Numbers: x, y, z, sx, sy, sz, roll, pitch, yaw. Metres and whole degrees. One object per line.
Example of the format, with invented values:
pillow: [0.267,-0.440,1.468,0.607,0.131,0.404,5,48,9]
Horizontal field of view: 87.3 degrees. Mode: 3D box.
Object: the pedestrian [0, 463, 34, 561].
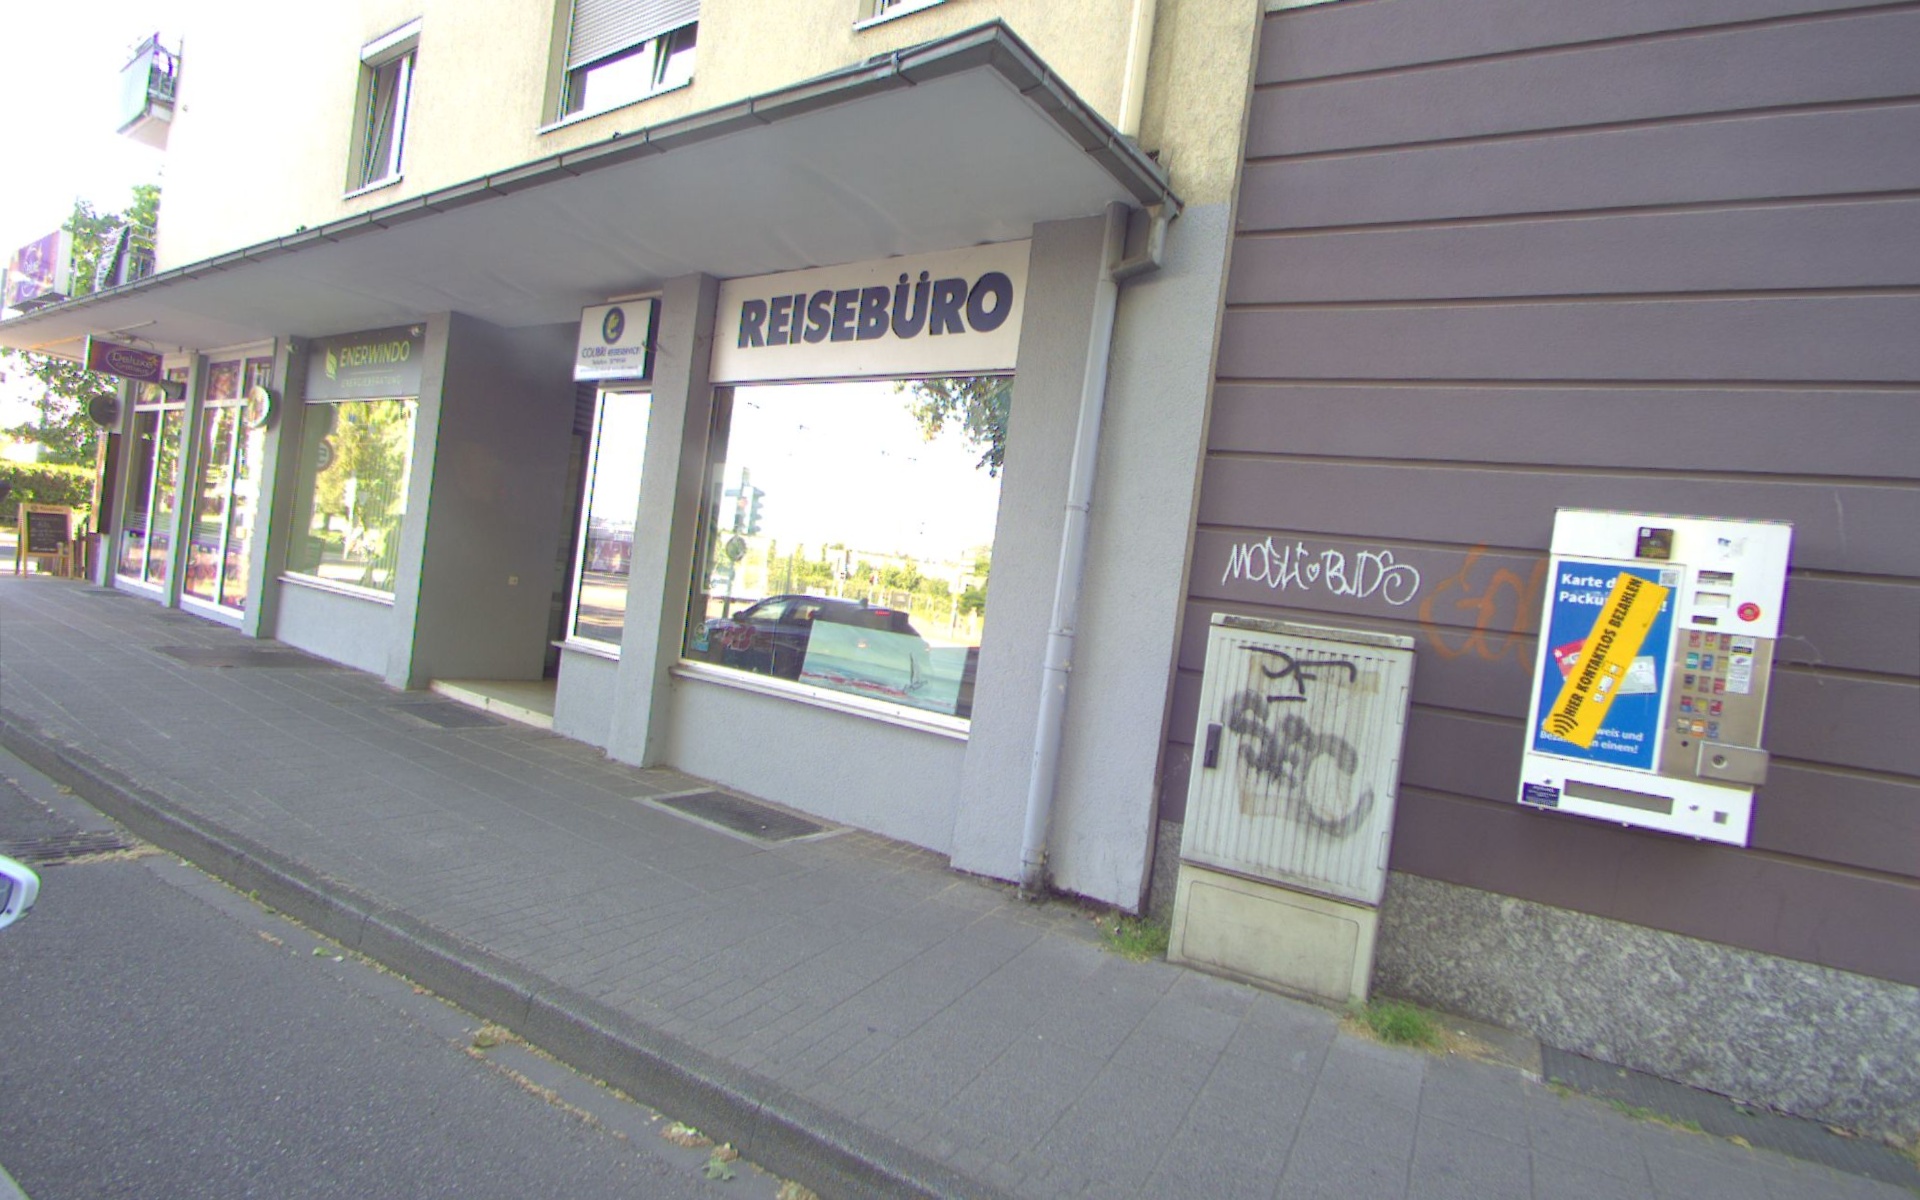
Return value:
pedestrian: [-18.872,-1.736,19.709,0.695,1.869,0.698,7,1,-19]
